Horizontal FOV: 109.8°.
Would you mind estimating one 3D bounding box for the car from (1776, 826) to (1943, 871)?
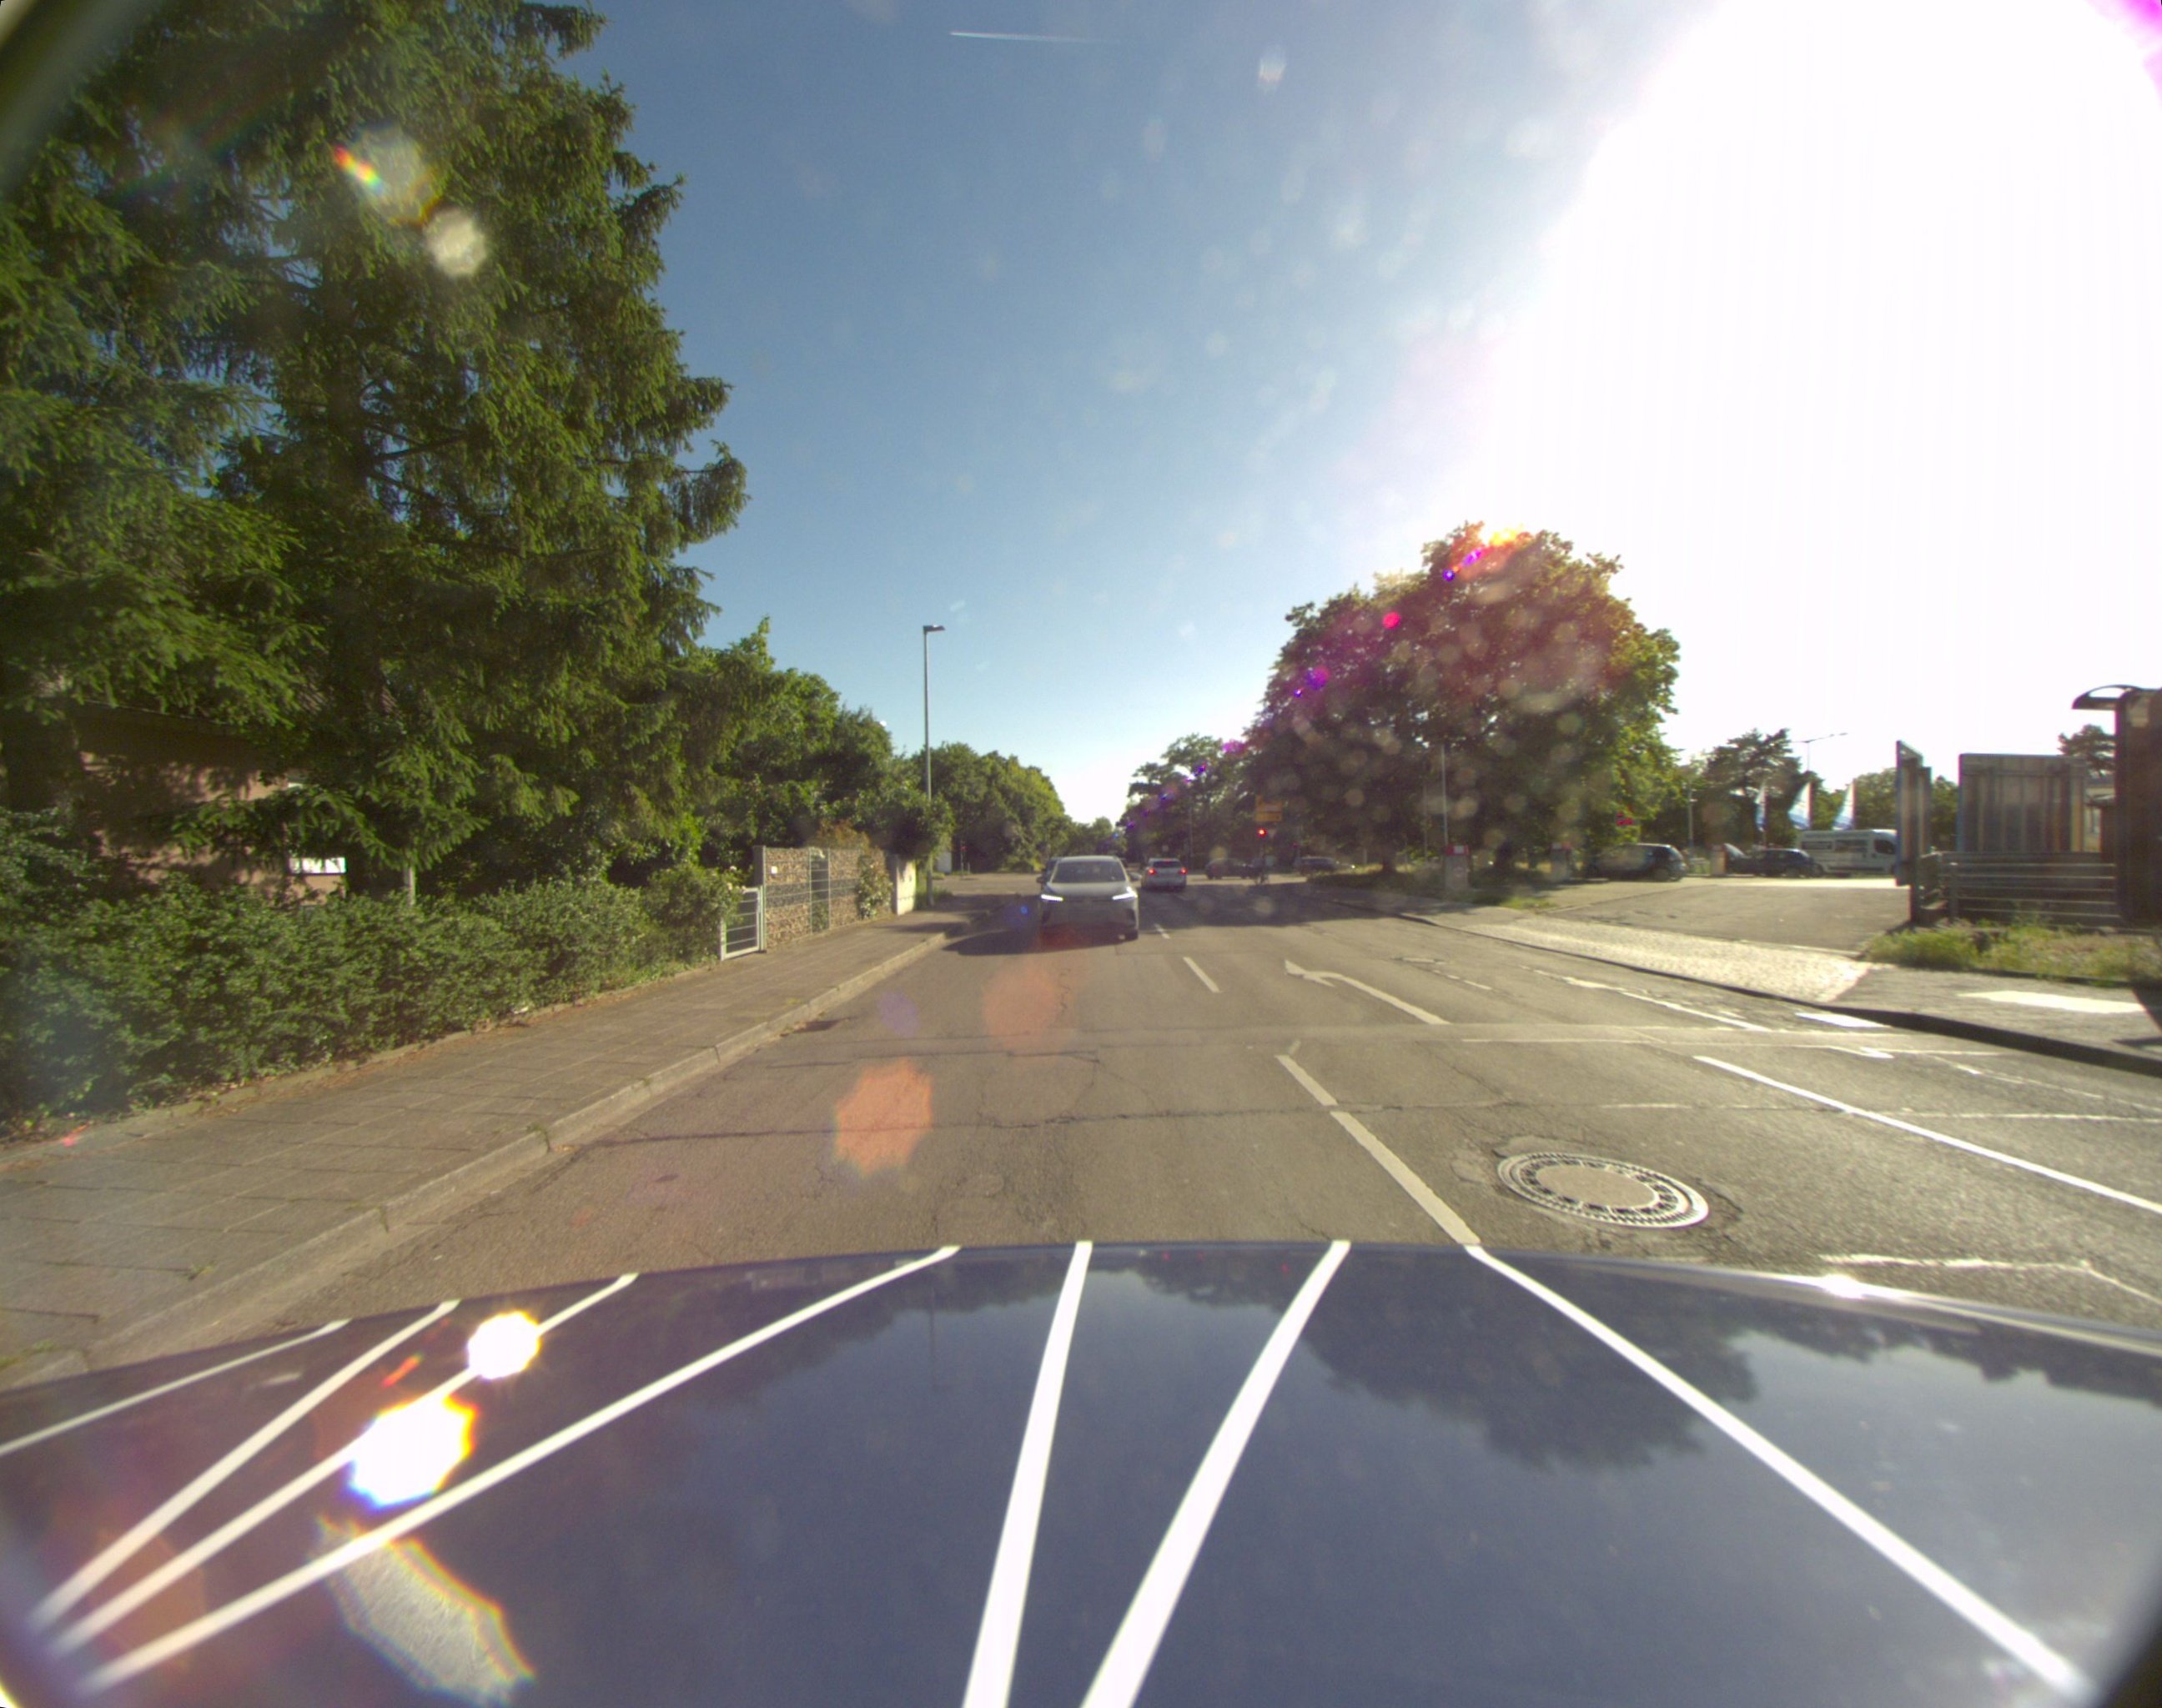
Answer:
[{"bbox_3d":[39.278,-0.360,38.593,2.001,2.088,5.644,-2,2,-15],"label":"car"}]

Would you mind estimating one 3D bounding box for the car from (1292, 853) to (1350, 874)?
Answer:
[{"bbox_3d":[18.295,0.706,58.035,3.989,1.532,1.626,0,3,28],"label":"car"}]

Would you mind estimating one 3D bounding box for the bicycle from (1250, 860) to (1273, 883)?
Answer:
[{"bbox_3d":[9.367,0.908,39.454,0.529,1.135,2.025,-2,0,-5],"label":"bicycle"}]

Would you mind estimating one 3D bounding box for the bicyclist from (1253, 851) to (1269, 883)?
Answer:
[{"bbox_3d":[9.345,0.678,39.426,0.542,1.632,0.829,-2,1,-5],"label":"bicyclist"}]

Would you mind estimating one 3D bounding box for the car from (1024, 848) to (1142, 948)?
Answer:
[{"bbox_3d":[0.139,0.753,15.510,1.992,1.631,4.365,-3,1,3],"label":"car"}]

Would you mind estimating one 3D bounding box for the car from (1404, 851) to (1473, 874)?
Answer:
[{"bbox_3d":[26.932,0.615,57.311,4.365,1.478,1.918,-2,3,-10],"label":"car"}]

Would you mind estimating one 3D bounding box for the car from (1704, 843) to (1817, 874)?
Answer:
[{"bbox_3d":[33.895,0.185,38.005,1.575,1.330,3.896,-3,3,-31],"label":"car"}]

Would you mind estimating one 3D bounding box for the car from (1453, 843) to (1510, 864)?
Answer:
[{"bbox_3d":[33.027,-0.025,62.709,3.912,1.432,1.691,-5,1,-11],"label":"car"}]

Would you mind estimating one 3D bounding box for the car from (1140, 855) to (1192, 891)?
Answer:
[{"bbox_3d":[3.810,0.821,34.869,1.841,1.480,4.889,-1,0,0],"label":"car"}]

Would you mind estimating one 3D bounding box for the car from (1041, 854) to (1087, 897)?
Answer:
[{"bbox_3d":[-0.679,0.841,31.373,1.692,1.564,4.120,-3,0,-1],"label":"car"}]

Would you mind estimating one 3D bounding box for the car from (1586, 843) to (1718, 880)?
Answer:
[{"bbox_3d":[23.455,0.259,31.358,1.763,1.368,3.989,-3,3,-35],"label":"car"}]

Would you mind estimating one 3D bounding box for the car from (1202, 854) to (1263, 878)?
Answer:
[{"bbox_3d":[10.796,0.836,54.256,3.912,1.432,1.690,-3,3,-11],"label":"car"}]
